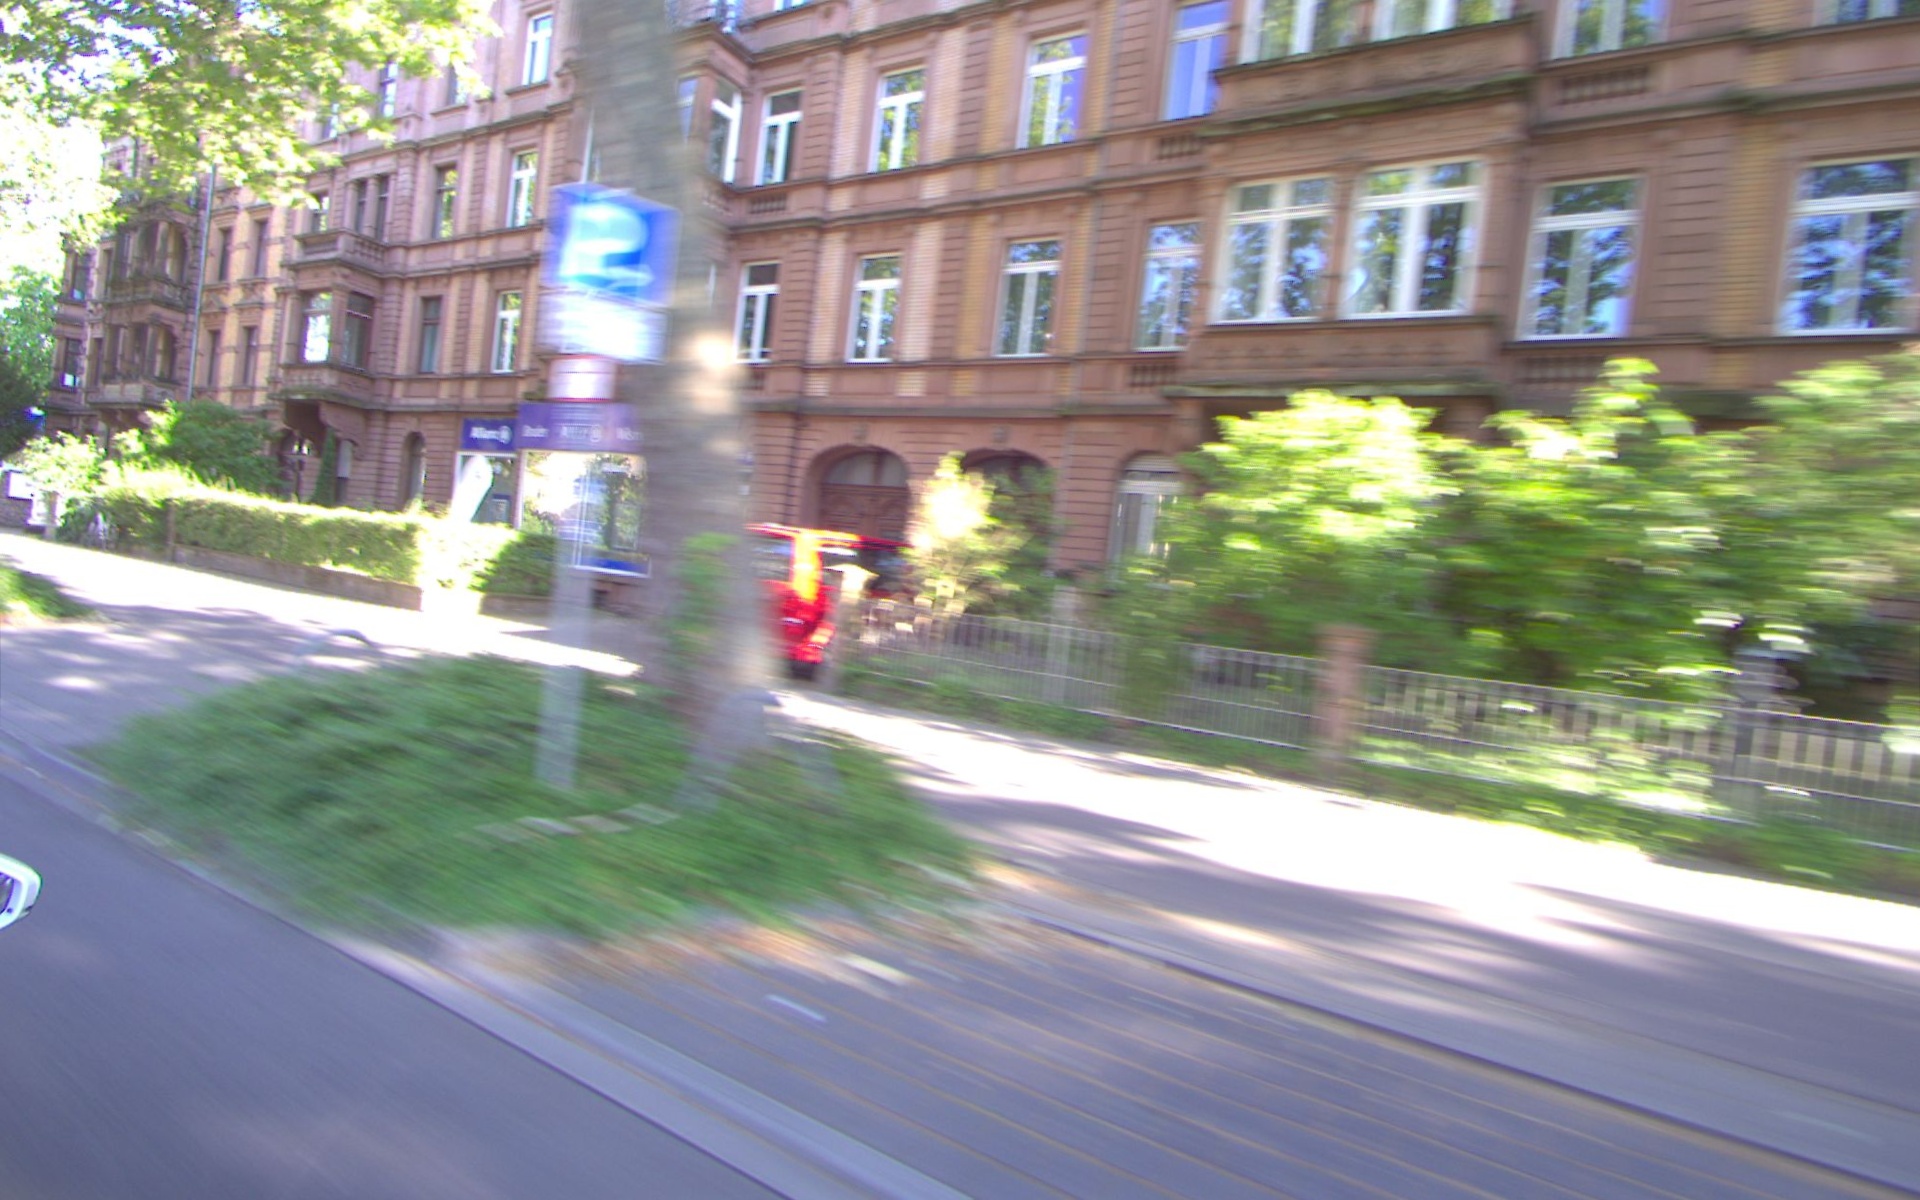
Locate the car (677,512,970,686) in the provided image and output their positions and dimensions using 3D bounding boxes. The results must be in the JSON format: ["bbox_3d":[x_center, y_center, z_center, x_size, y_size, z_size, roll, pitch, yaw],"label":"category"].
[{"bbox_3d":[-1.818,0.007,14.735,1.966,2.040,4.178,7,2,30],"label":"car"}]

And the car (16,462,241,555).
[{"bbox_3d":[-23.897,-2.579,29.107,1.883,2.040,4.575,7,1,31],"label":"car"}]

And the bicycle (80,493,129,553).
[{"bbox_3d":[-20.044,-1.820,23.553,1.739,1.264,0.338,7,-2,36],"label":"bicycle"}]
